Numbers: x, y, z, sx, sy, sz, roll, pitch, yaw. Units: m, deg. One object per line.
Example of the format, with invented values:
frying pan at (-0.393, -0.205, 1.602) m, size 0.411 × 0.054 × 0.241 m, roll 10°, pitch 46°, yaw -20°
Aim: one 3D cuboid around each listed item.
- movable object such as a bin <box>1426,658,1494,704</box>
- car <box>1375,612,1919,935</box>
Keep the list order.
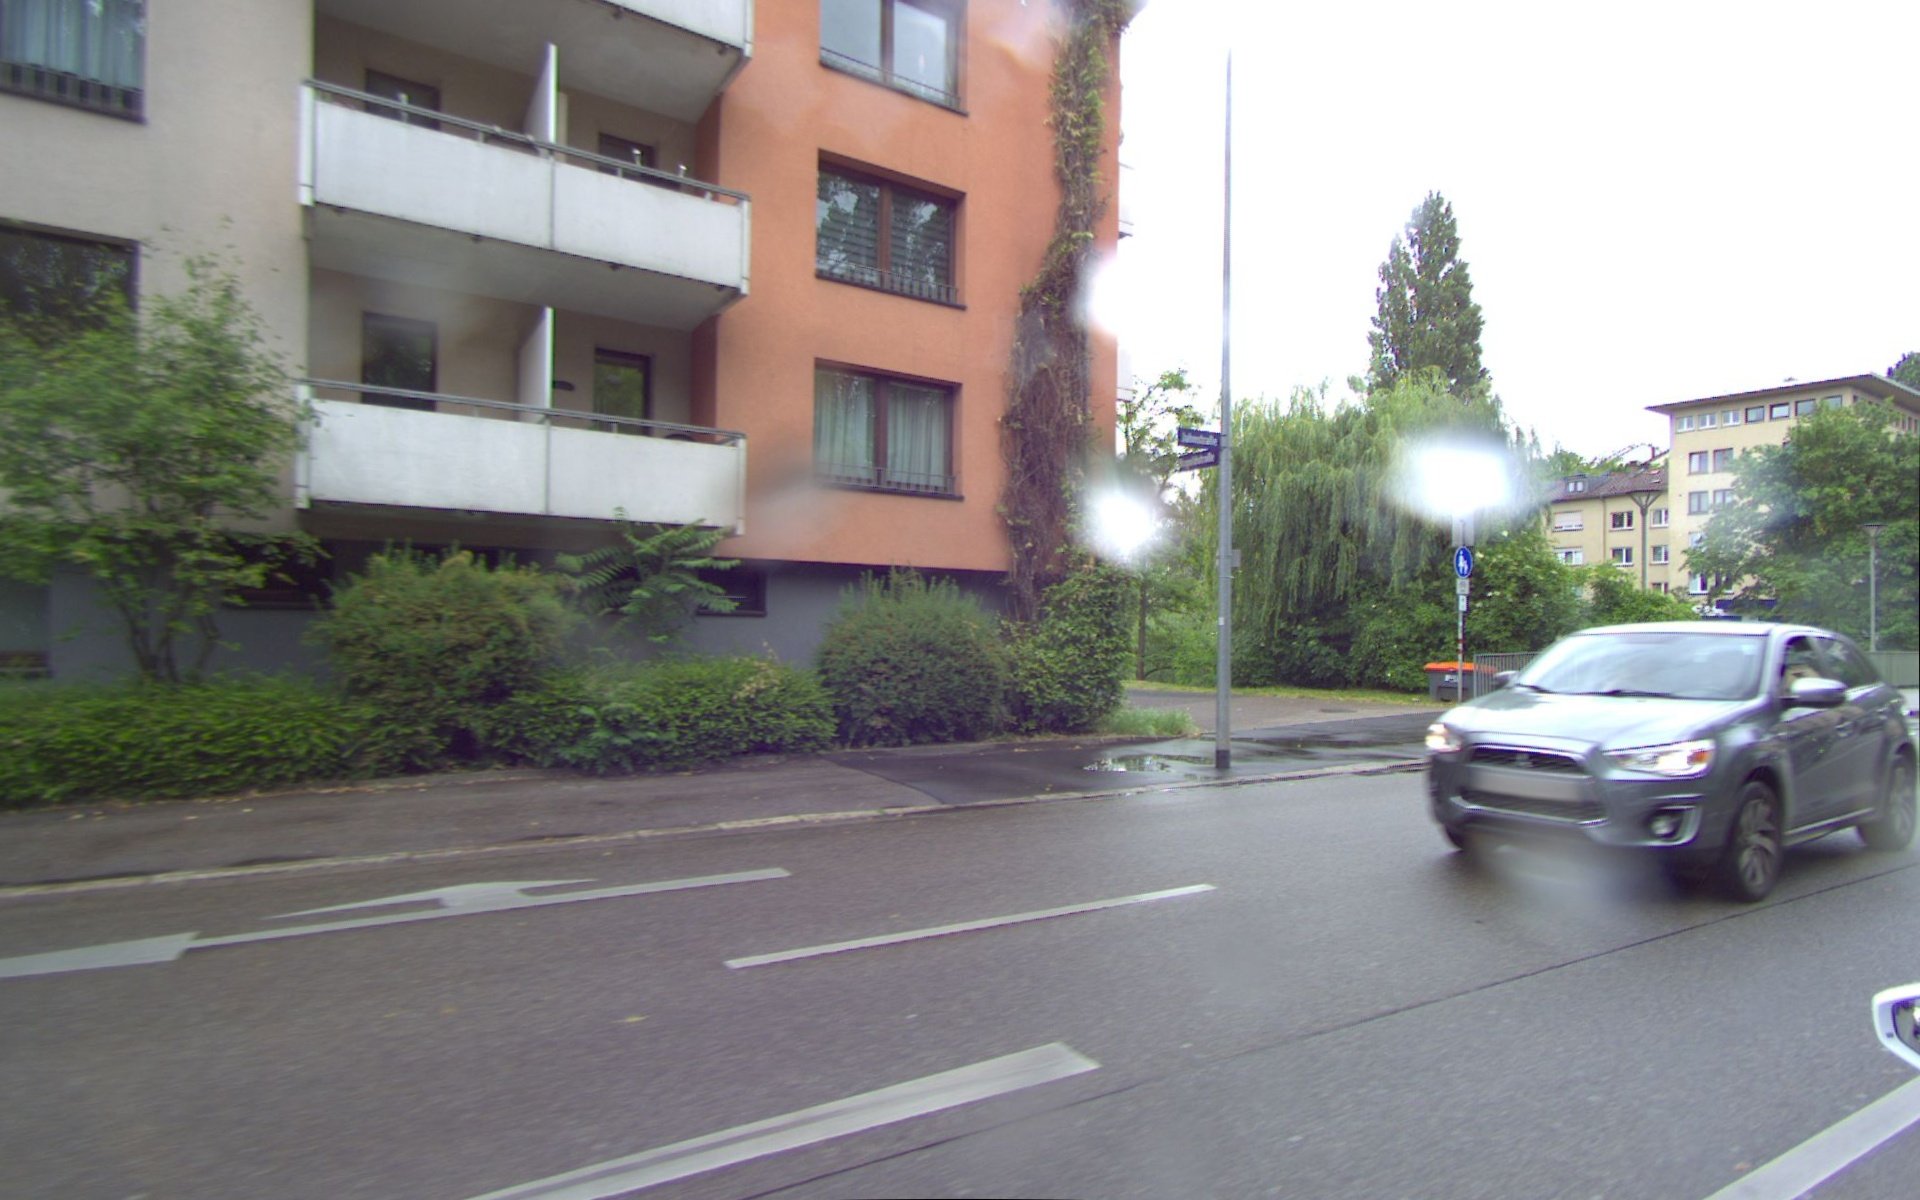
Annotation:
movable object such as a bin at (10.156, 1.638, 20.419) m, size 0.822 × 0.888 × 0.961 m, roll 2°, pitch -2°, yaw -30°
car at (4.920, 0.926, 6.951) m, size 4.189 × 1.599 × 1.802 m, roll 1°, pitch -2°, yaw -35°
